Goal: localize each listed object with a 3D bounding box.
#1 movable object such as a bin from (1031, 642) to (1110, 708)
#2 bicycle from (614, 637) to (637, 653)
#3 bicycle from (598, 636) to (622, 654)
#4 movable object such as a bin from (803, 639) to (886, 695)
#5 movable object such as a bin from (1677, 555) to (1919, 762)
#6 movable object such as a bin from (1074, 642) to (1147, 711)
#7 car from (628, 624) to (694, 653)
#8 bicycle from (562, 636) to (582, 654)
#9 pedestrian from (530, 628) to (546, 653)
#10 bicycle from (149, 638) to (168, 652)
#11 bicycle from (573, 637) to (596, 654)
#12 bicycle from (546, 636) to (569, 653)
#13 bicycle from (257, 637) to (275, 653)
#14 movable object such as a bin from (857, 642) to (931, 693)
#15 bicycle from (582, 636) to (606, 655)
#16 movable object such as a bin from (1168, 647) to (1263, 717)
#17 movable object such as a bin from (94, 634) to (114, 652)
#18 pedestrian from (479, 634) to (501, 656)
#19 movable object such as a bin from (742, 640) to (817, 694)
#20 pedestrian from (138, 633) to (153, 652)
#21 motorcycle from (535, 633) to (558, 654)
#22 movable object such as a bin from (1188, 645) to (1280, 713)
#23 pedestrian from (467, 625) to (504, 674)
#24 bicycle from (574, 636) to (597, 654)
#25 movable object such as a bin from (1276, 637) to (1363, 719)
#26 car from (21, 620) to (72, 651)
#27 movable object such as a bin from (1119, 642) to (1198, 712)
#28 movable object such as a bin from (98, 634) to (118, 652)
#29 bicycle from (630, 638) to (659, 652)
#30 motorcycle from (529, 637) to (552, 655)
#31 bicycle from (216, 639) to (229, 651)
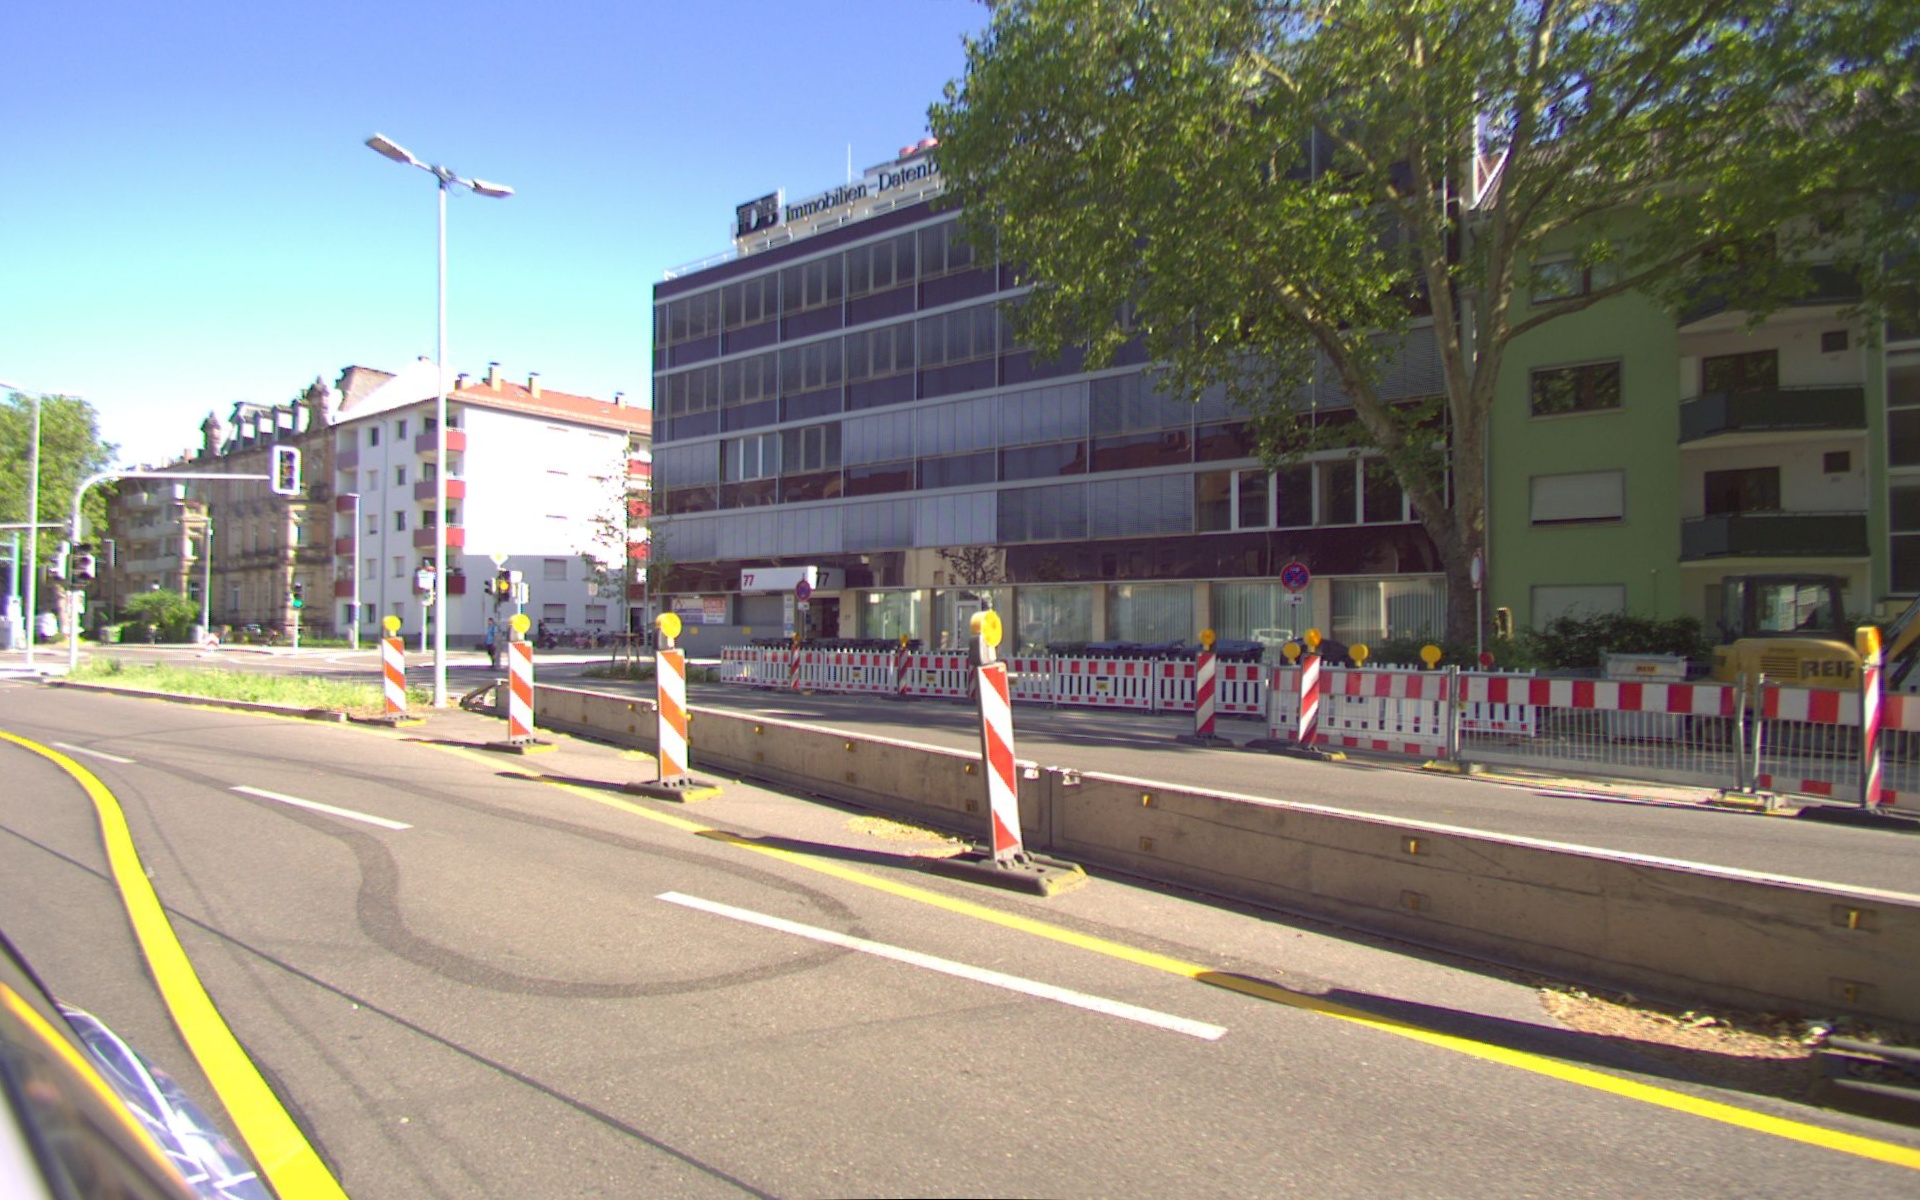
[{"bbox_3d":[2.402,1.608,21.980,1.155,1.348,1.396,-2,-2,38],"label":"movable object such as a bin"},{"bbox_3d":[-19.812,2.656,59.909,1.721,0.955,0.454,-2,-2,38],"label":"bicycle"},{"bbox_3d":[-20.557,2.629,59.435,1.735,1.011,0.503,-2,-2,41],"label":"bicycle"},{"bbox_3d":[-3.021,1.723,26.419,1.853,1.399,1.203,-2,-2,38],"label":"movable object such as a bin"},{"bbox_3d":[13.390,0.786,14.146,5.339,2.727,2.129,-1,-2,33],"label":"movable object such as a bin"},{"bbox_3d":[3.163,1.571,21.183,0.934,1.348,1.396,-2,-2,38],"label":"movable object such as a bin"},{"bbox_3d":[-18.864,2.413,63.700,4.478,1.744,1.972,-2,-2,42],"label":"car"},{"bbox_3d":[-22.000,2.529,57.357,0.500,0.985,1.888,1,-2,-37],"label":"bicycle"},{"bbox_3d":[-25.293,2.413,60.678,0.694,1.508,0.594,-2,-2,39],"label":"pedestrian"},{"bbox_3d":[-59.742,3.336,75.454,2.244,1.013,0.463,-2,-1,35],"label":"bicycle"},{"bbox_3d":[-21.348,2.591,57.567,0.471,0.955,1.952,2,-2,-45],"label":"bicycle"},{"bbox_3d":[-23.767,2.607,59.721,1.735,0.976,0.568,-2,-2,41],"label":"bicycle"},{"bbox_3d":[-43.908,2.843,63.997,1.936,0.965,0.302,-2,-3,37],"label":"bicycle"},{"bbox_3d":[-1.647,1.667,25.358,1.240,1.212,1.380,-1,-2,39],"label":"movable object such as a bin"},{"bbox_3d":[-21.174,2.601,58.571,1.734,1.077,0.484,-2,-2,39],"label":"bicycle"},{"bbox_3d":[4.957,1.568,19.683,1.537,1.280,0.971,-2,-2,36],"label":"movable object such as a bin"},{"bbox_3d":[-69.014,3.460,81.595,1.311,1.373,0.885,-3,-5,35],"label":"movable object such as a bin"},{"bbox_3d":[-25.105,2.410,54.033,0.784,1.162,0.714,-1,-2,24],"label":"pedestrian"},{"bbox_3d":[-4.951,1.800,27.725,1.853,1.399,1.103,-2,-2,38],"label":"movable object such as a bin"},{"bbox_3d":[-60.360,3.134,74.999,1.087,1.388,0.561,-2,-3,34],"label":"pedestrian"},{"bbox_3d":[-23.681,2.483,57.919,0.604,1.150,1.784,1,-2,-45],"label":"motorcycle"},{"bbox_3d":[5.547,1.568,20.500,1.537,1.280,0.971,-2,-2,36],"label":"movable object such as a bin"},{"bbox_3d":[-16.813,1.741,35.853,1.012,1.724,0.855,-2,-3,43],"label":"pedestrian"},{"bbox_3d":[-22.675,2.692,61.220,1.689,1.066,0.568,-2,-2,41],"label":"bicycle"},{"bbox_3d":[6.718,1.429,19.023,1.249,1.433,1.630,-1,-2,10],"label":"movable object such as a bin"},{"bbox_3d":[-79.189,3.113,87.744,5.277,2.465,2.224,-3,-5,37],"label":"car"},{"bbox_3d":[4.059,1.536,20.662,1.067,1.348,1.397,-2,-2,38],"label":"movable object such as a bin"},{"bbox_3d":[-67.931,3.408,80.721,1.471,1.371,0.884,-3,-5,37],"label":"movable object such as a bin"},{"bbox_3d":[-18.855,2.705,60.489,1.706,0.820,0.413,-1,-2,13],"label":"bicycle"},{"bbox_3d":[-23.376,2.552,56.349,1.842,0.943,0.497,-2,-2,43],"label":"motorcycle"},{"bbox_3d":[-49.843,3.023,68.396,1.411,0.777,0.296,-2,-3,37],"label":"bicycle"}]
